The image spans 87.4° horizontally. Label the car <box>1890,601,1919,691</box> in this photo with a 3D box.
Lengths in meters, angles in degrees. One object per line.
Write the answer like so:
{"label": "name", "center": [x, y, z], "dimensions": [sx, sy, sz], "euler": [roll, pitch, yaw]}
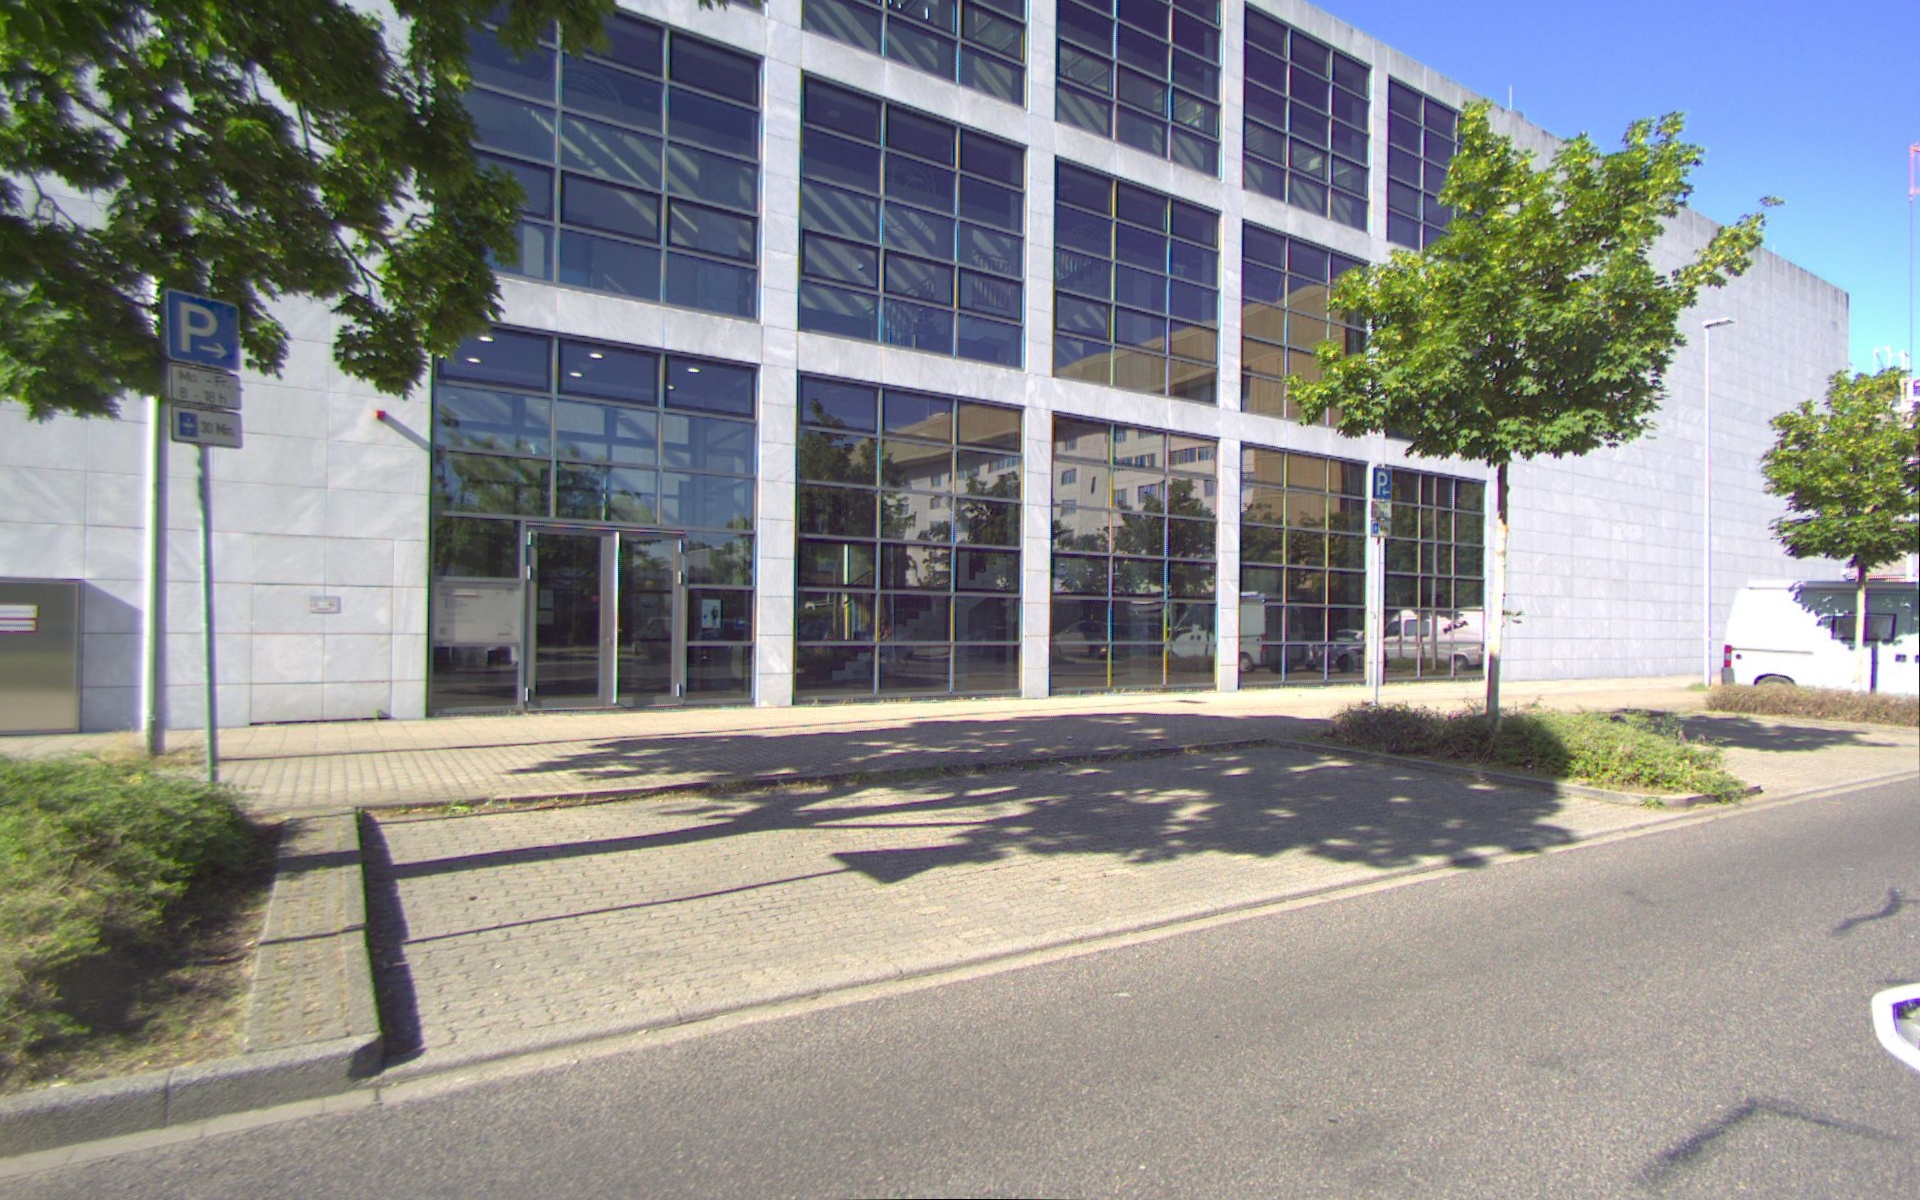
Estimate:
{"label": "car", "center": [27.848, 1.300, 25.762], "dimensions": [1.964, 2.442, 5.524], "euler": [1, 0, -30]}

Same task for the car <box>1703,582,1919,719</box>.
{"label": "car", "center": [17.939, 0.941, 19.478], "dimensions": [2.099, 2.451, 5.221], "euler": [2, 1, -31]}

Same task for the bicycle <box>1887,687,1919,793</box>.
{"label": "bicycle", "center": [10.352, 1.413, 10.289], "dimensions": [1.850, 1.015, 0.753], "euler": [2, -3, -31]}

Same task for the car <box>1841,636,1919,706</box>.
{"label": "car", "center": [22.382, 1.639, 22.317], "dimensions": [1.827, 1.491, 3.812], "euler": [2, 0, -30]}

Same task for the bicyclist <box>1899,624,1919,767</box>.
{"label": "bicyclist", "center": [10.371, 0.976, 10.315], "dimensions": [1.119, 1.450, 0.753], "euler": [2, -3, -31]}
